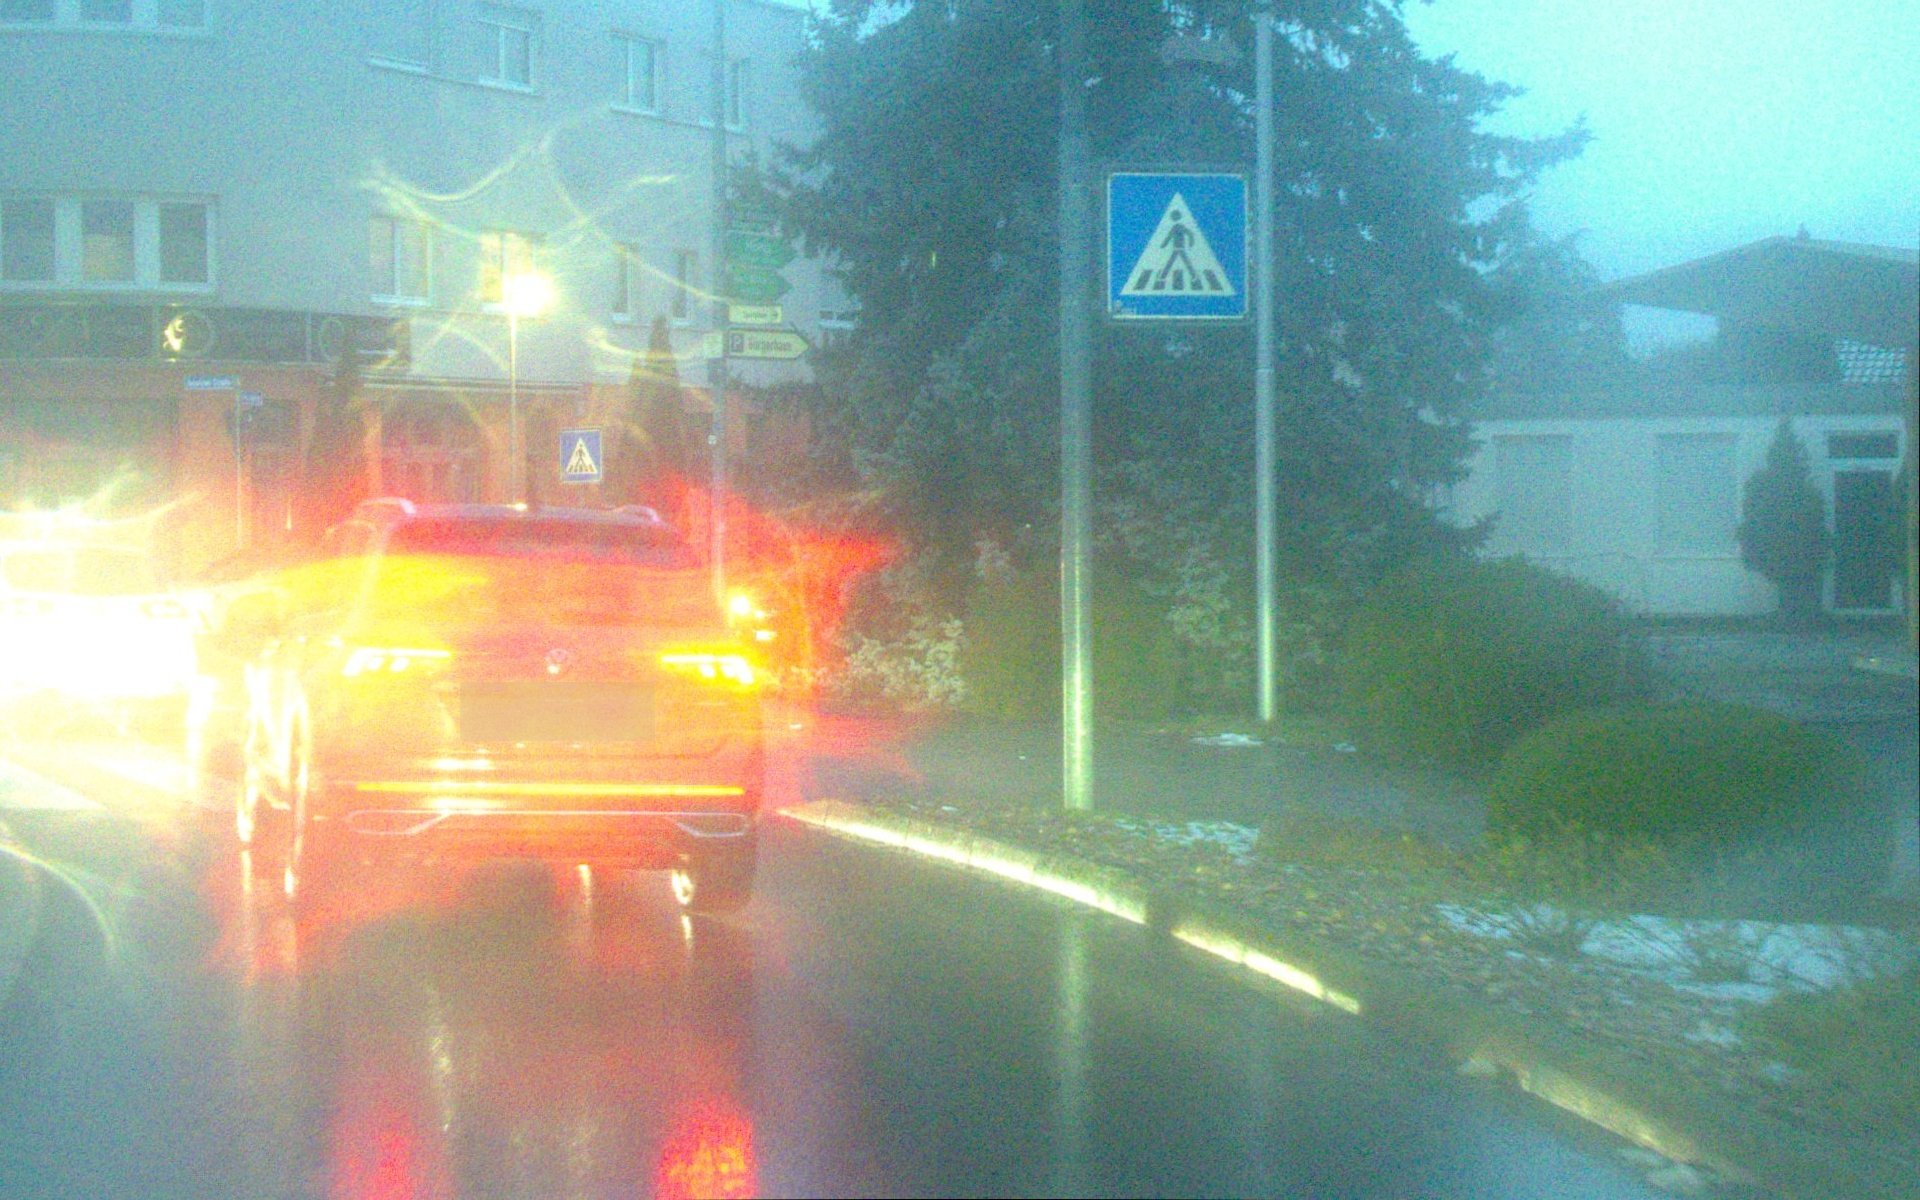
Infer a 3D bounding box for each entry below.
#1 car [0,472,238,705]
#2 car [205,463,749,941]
[{"bbox_3d":[-7.374,-0.169,27.784,2.163,1.683,4.573,-1,3,-23],"label":"car"},{"bbox_3d":[-2.067,0.289,14.451,1.944,1.712,4.001,-1,2,-9],"label":"car"}]
